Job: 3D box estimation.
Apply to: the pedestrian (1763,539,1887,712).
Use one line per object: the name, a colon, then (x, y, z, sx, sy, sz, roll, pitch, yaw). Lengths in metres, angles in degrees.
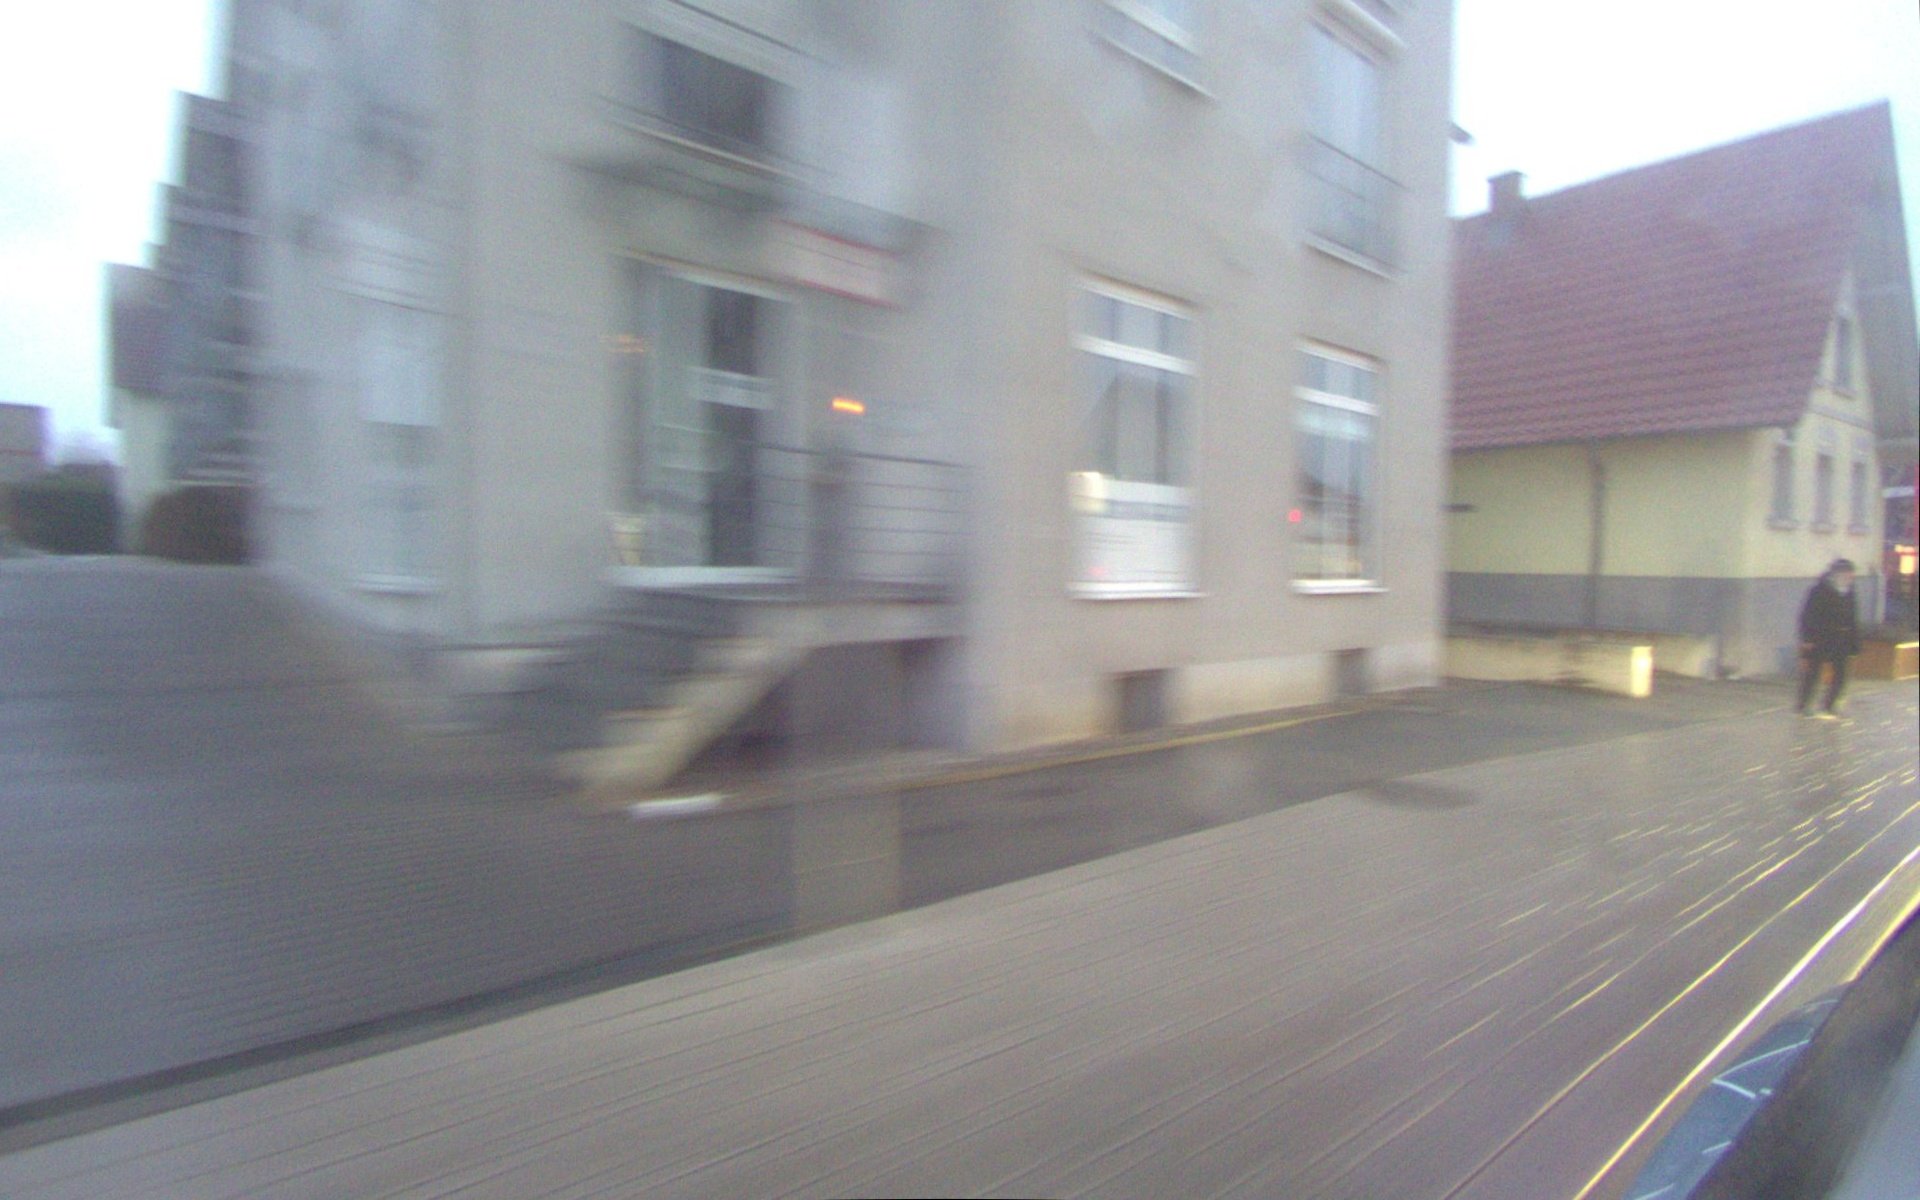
pedestrian: (9.256, 0.253, 10.830, 0.856, 1.751, 0.748, 1, 1, -33)
